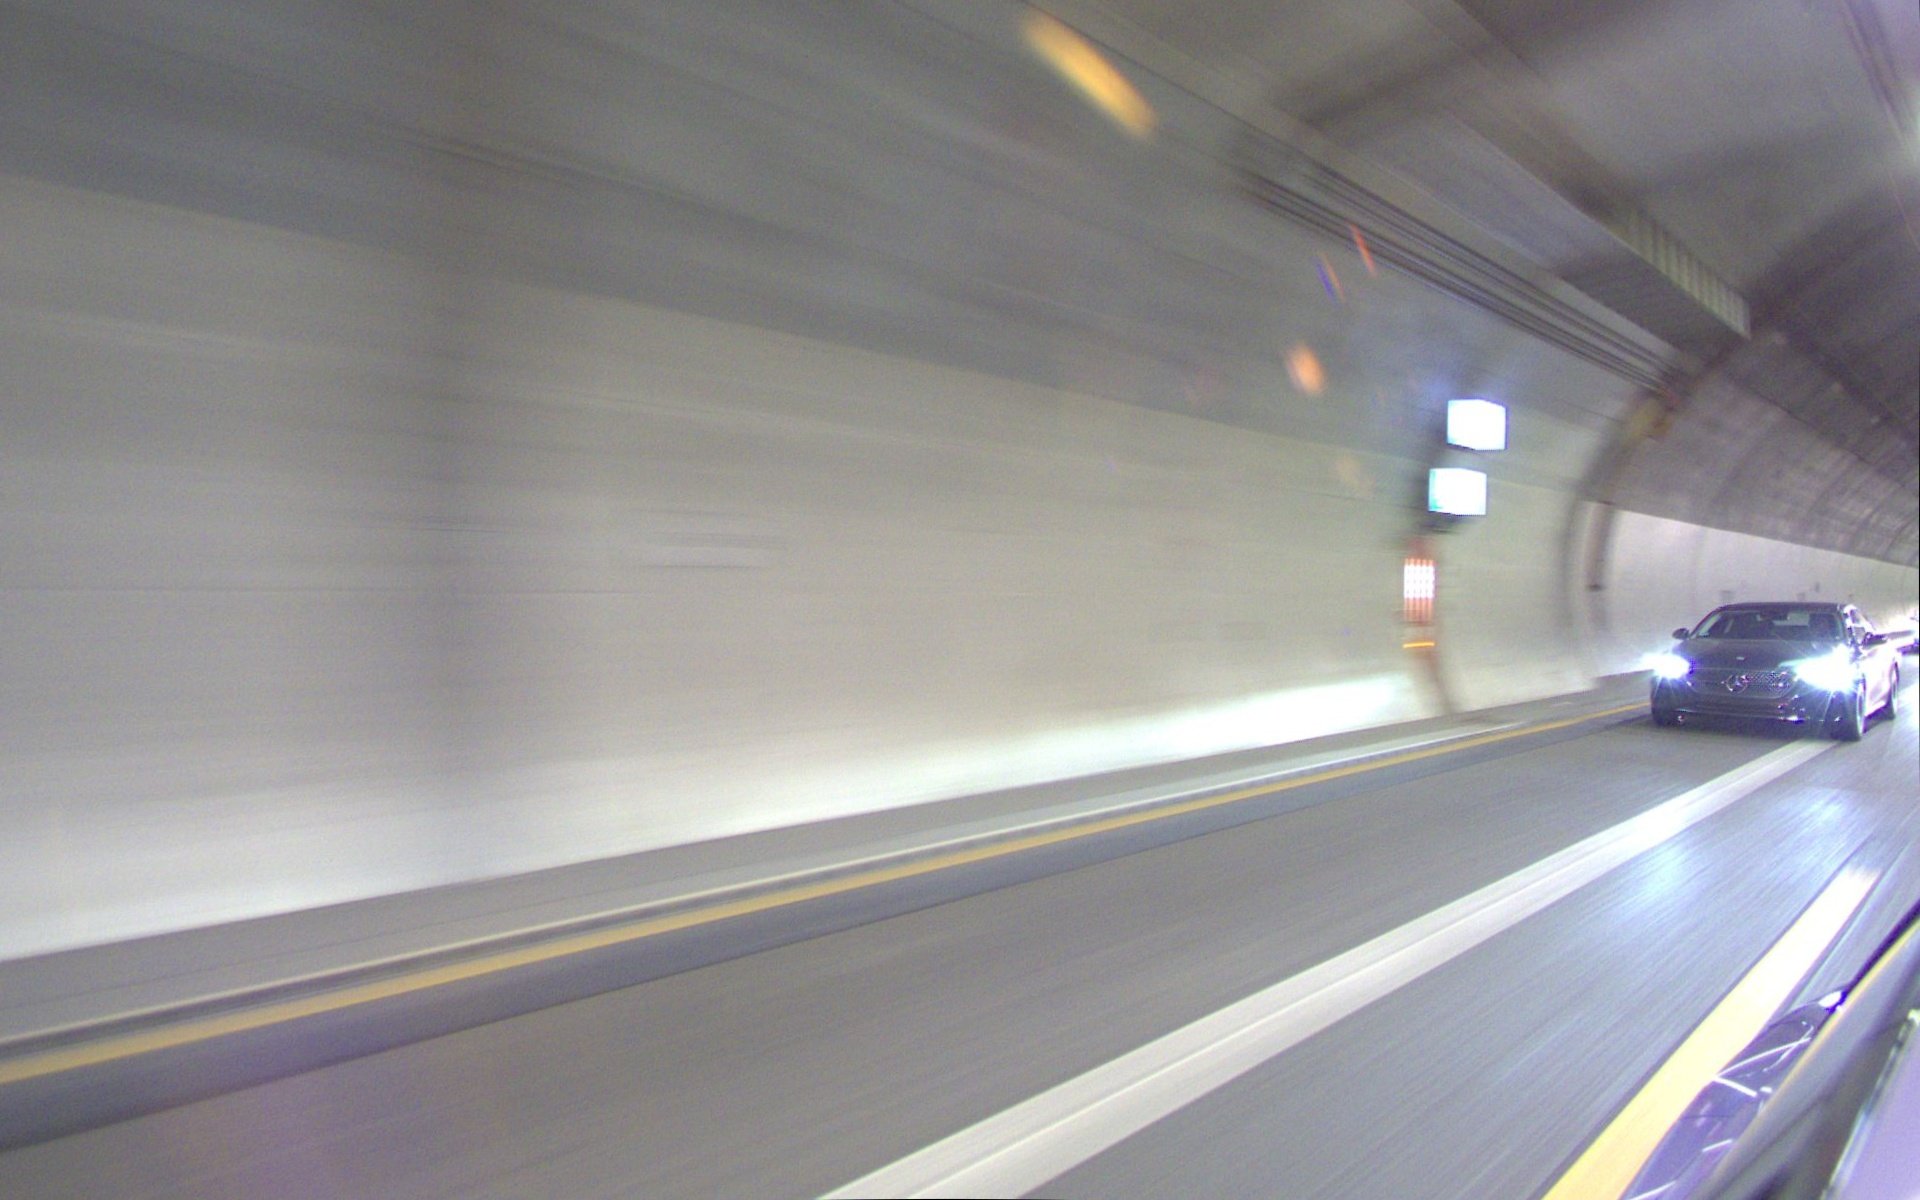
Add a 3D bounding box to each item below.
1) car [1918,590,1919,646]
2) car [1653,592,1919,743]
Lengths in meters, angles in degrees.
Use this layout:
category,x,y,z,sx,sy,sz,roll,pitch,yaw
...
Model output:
category,x,y,z,sx,sy,sz,roll,pitch,yaw
car,28.960,0.458,28.854,4.661,1.560,1.996,-1,0,-42
car,10.128,0.667,12.275,4.443,1.496,1.823,0,0,-42
